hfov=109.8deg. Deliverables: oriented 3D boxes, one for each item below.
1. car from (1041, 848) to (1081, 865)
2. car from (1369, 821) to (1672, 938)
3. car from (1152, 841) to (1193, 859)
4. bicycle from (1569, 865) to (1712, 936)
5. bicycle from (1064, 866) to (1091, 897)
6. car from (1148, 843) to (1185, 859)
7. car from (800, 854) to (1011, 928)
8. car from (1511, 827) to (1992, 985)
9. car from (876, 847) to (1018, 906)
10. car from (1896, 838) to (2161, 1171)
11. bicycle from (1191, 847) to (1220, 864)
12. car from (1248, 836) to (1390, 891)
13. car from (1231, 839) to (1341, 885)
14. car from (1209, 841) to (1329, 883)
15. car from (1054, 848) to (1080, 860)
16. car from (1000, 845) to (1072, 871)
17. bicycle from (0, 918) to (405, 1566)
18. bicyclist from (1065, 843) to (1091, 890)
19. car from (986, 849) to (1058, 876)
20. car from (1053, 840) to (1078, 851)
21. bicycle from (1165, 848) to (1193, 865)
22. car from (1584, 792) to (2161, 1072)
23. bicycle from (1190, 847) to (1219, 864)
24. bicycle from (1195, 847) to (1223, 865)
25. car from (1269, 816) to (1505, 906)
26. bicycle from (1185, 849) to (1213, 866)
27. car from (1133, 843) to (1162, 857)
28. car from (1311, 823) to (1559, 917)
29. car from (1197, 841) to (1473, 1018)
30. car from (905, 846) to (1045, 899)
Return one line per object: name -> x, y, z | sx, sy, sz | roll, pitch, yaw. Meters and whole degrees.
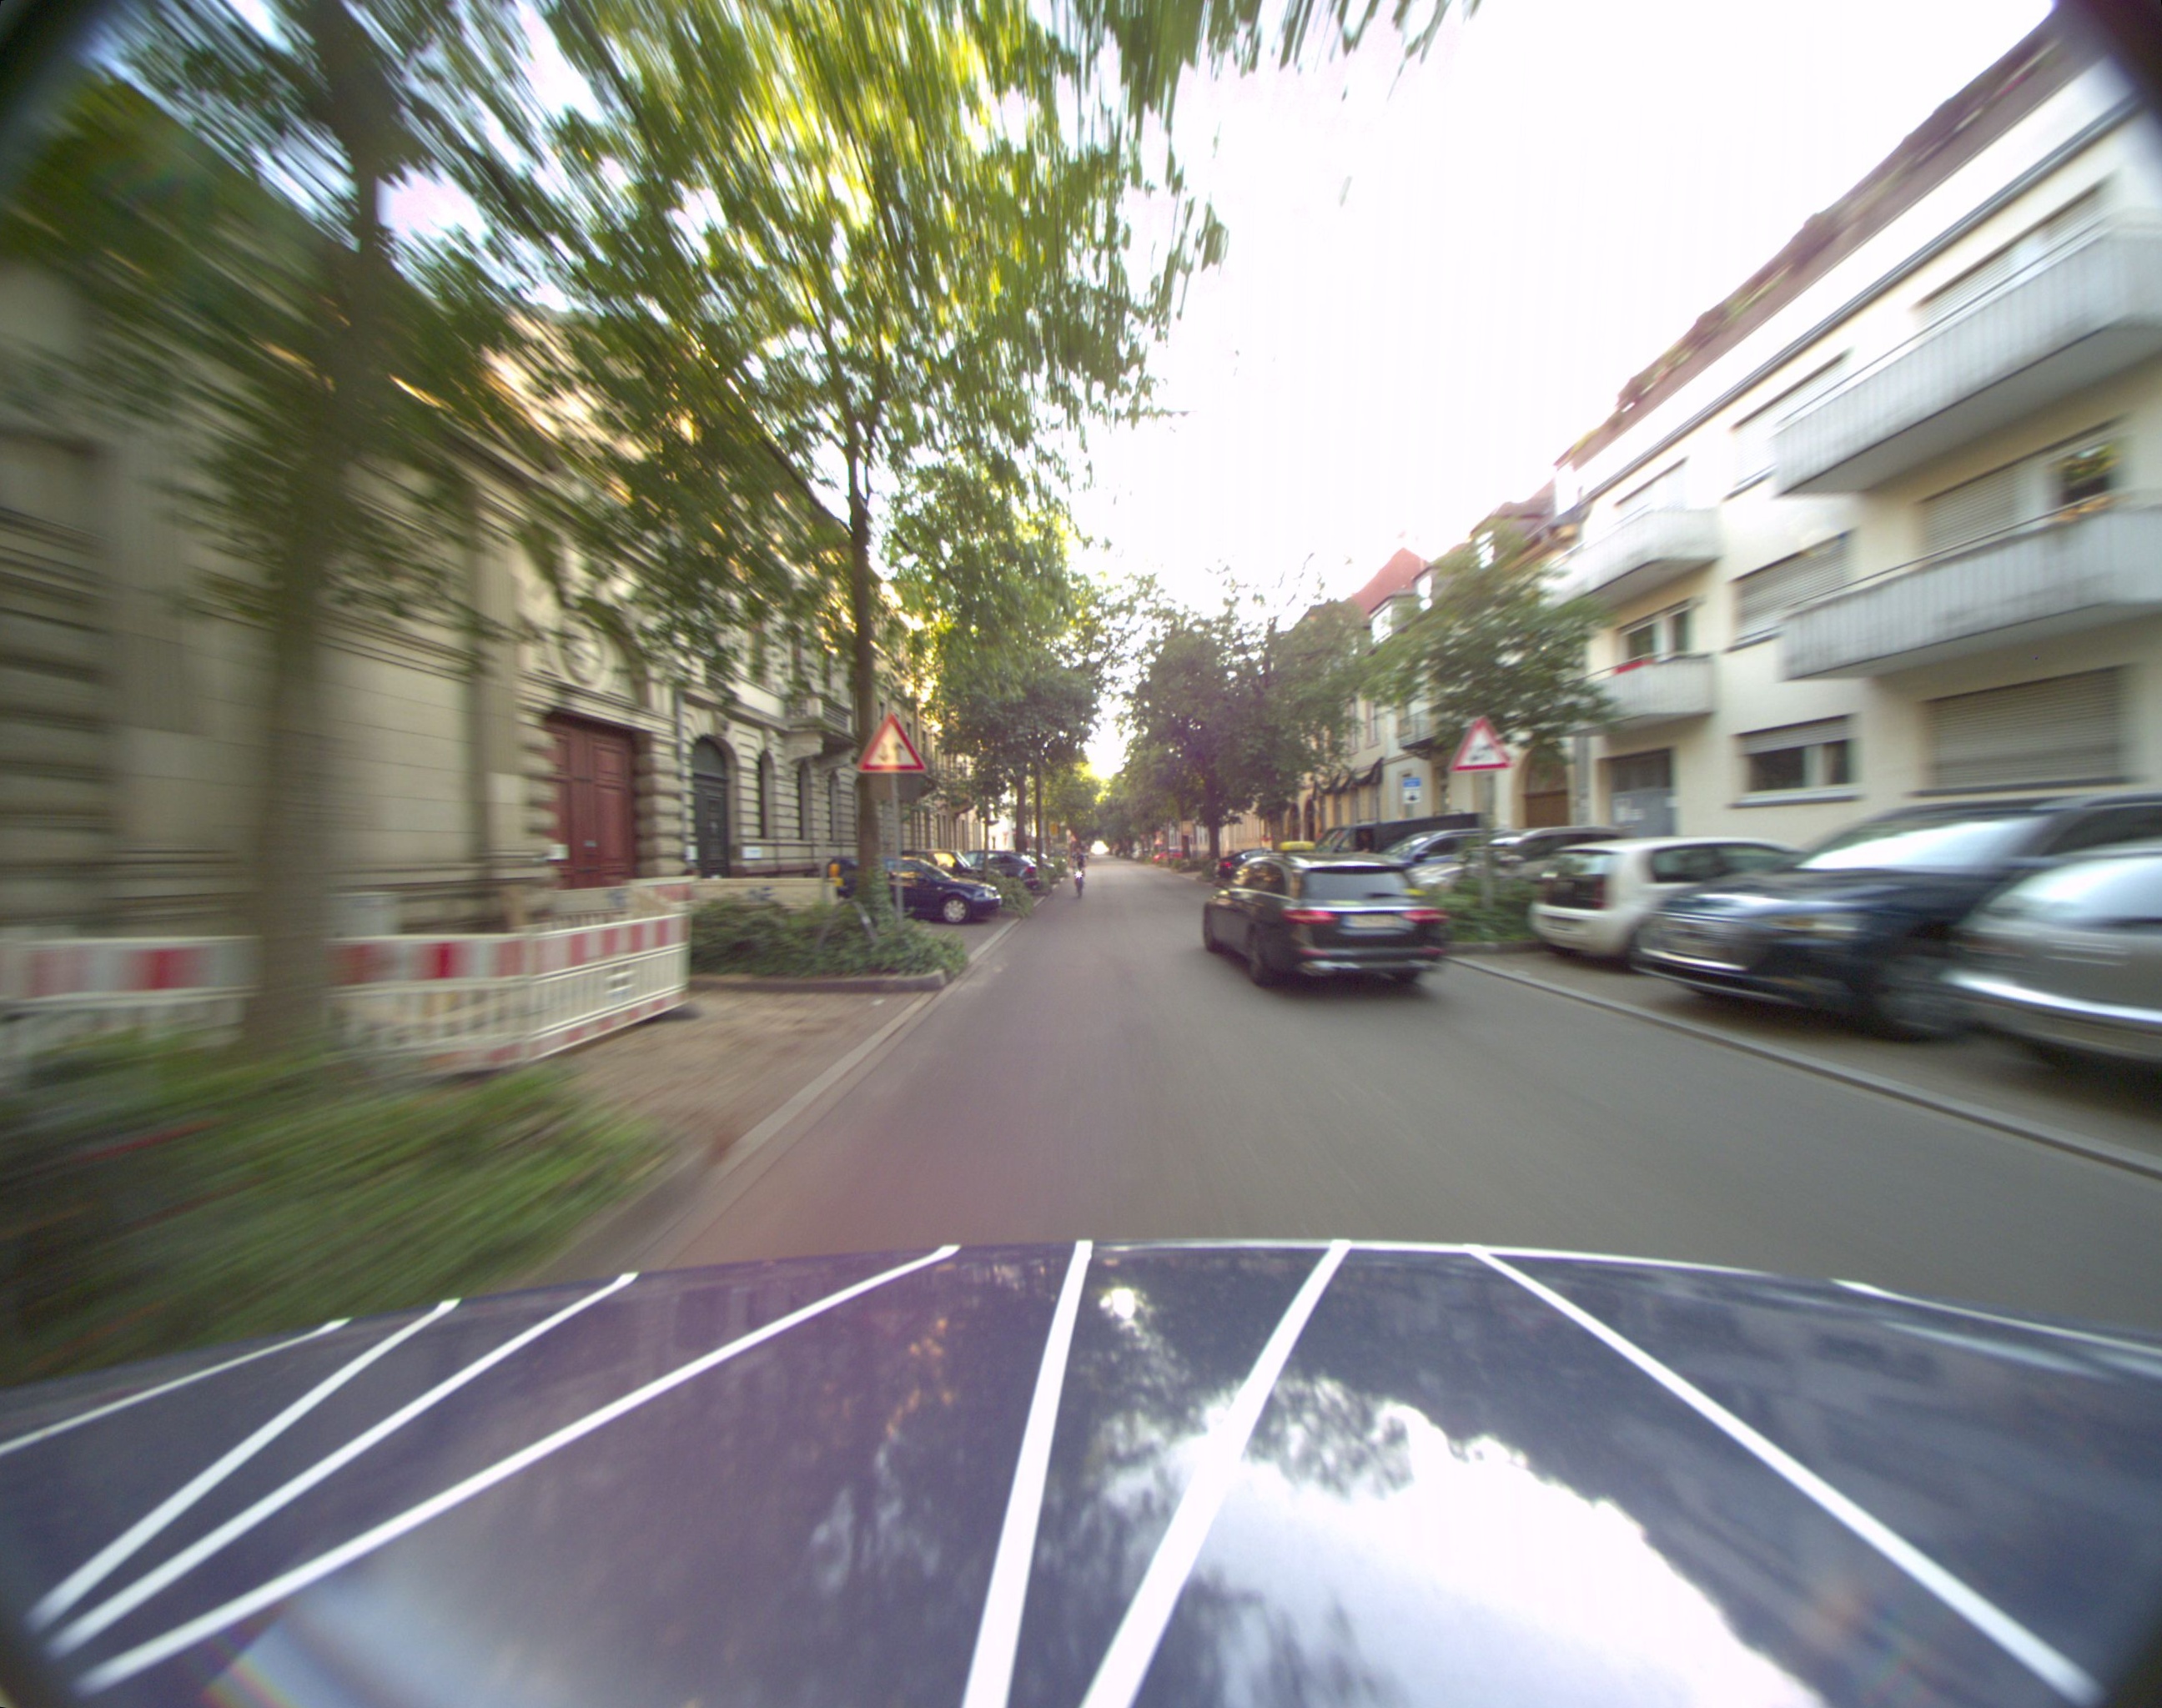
car -> -2.206, 0.274, 84.515 | 4.166, 1.666, 1.590 | -4, 1, 1
car -> 7.509, 0.411, 13.304 | 4.164, 1.582, 1.823 | -5, 1, 1
car -> 8.444, -0.353, 70.132 | 3.497, 1.397, 1.673 | -4, 1, -1
bicycle -> 8.111, 0.644, 11.130 | 0.748, 0.868, 1.814 | -3, 1, 0
bicycle -> -0.099, 0.958, 26.850 | 0.778, 0.967, 2.025 | -2, 1, 4
car -> 8.797, -0.339, 78.678 | 3.552, 1.411, 1.590 | -4, 1, -1
car -> -3.795, 0.771, 16.938 | 4.234, 1.472, 1.854 | 1, 1, 1
car -> 7.451, 0.546, 8.789 | 3.854, 1.442, 1.855 | -3, 0, 1
car -> -4.079, 0.659, 23.531 | 4.017, 1.677, 1.765 | -1, 1, 1
car -> 7.117, 0.627, 3.751 | 4.037, 1.485, 1.780 | -4, 1, 5
bicycle -> 8.769, 0.077, 53.444 | 1.869, 1.093, 0.509 | -3, 2, -5
car -> 8.225, 0.302, 26.522 | 4.365, 1.530, 1.771 | -4, 2, 1
car -> 7.776, 0.294, 29.038 | 3.693, 1.441, 1.659 | -4, 1, 1
car -> 7.735, 0.317, 31.484 | 4.436, 1.399, 1.717 | -4, 2, -2
car -> -1.941, 0.023, 105.879 | 3.551, 1.411, 1.590 | -4, 1, 1
car -> -2.921, 0.239, 50.082 | 4.420, 1.552, 1.867 | 1, 0, 8
bicycle -> -2.997, 0.914, 1.897 | 2.051, 1.353, 0.508 | -3, 1, -1
bicyclist -> -0.107, 0.415, 26.893 | 0.753, 1.612, 1.147 | -2, 1, 4
car -> -3.294, 0.462, 42.739 | 3.875, 1.419, 1.781 | 1, 0, 0
car -> -2.336, -1.330, 114.119 | 3.551, 1.411, 1.590 | -4, 1, 1
bicycle -> 7.107, 0.183, 55.204 | 1.869, 1.092, 0.480 | -3, 2, -5
car -> 7.154, 0.464, 6.156 | 4.677, 1.755, 2.156 | -3, 1, 1
bicycle -> 8.553, 0.091, 52.738 | 1.869, 1.093, 0.480 | -3, 2, -5
bicycle -> 8.637, 0.123, 51.300 | 1.711, 1.093, 0.480 | -3, 2, -5
car -> 7.511, 0.159, 19.079 | 5.002, 1.979, 2.189 | -2, 1, 1
bicycle -> 8.456, 0.229, 54.602 | 1.869, 1.093, 0.480 | -3, 2, -5
car -> 8.484, -0.505, 97.295 | 3.551, 1.411, 1.590 | -4, 1, 1
car -> 7.476, 0.313, 16.383 | 4.365, 1.564, 1.930 | -5, 1, 1
car -> 2.743, 0.684, 9.463 | 1.881, 1.631, 4.645 | -1, 1, 0
car -> -3.543, 0.600, 25.996 | 4.451, 1.708, 1.968 | 0, 2, 1
